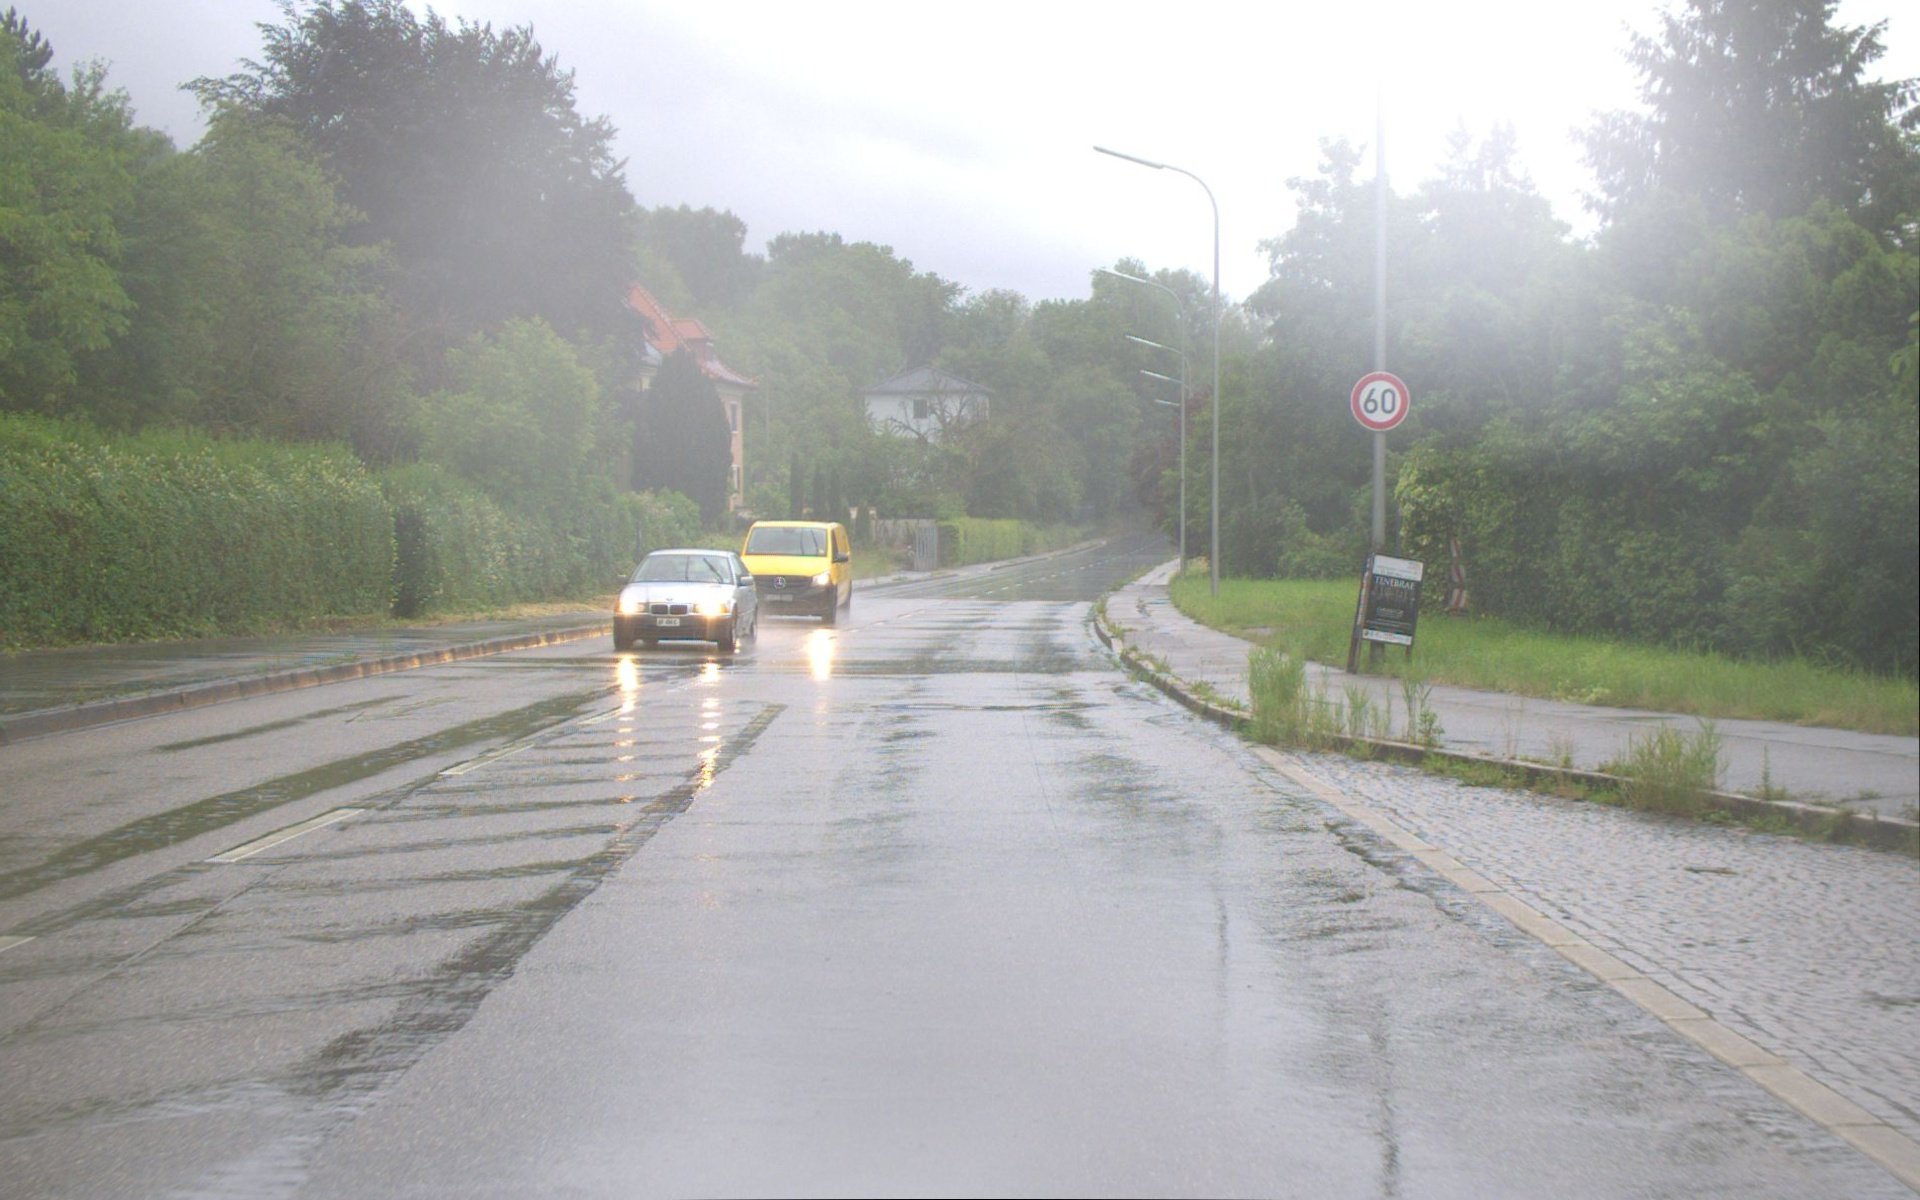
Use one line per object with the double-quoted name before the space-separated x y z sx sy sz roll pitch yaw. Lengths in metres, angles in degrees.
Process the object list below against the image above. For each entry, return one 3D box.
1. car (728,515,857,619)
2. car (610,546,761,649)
"car" -3.106 -0.635 64.666 1.937 1.865 5.036 0 1 3
"car" -3.768 -0.061 47.700 1.701 1.345 3.905 0 1 1
